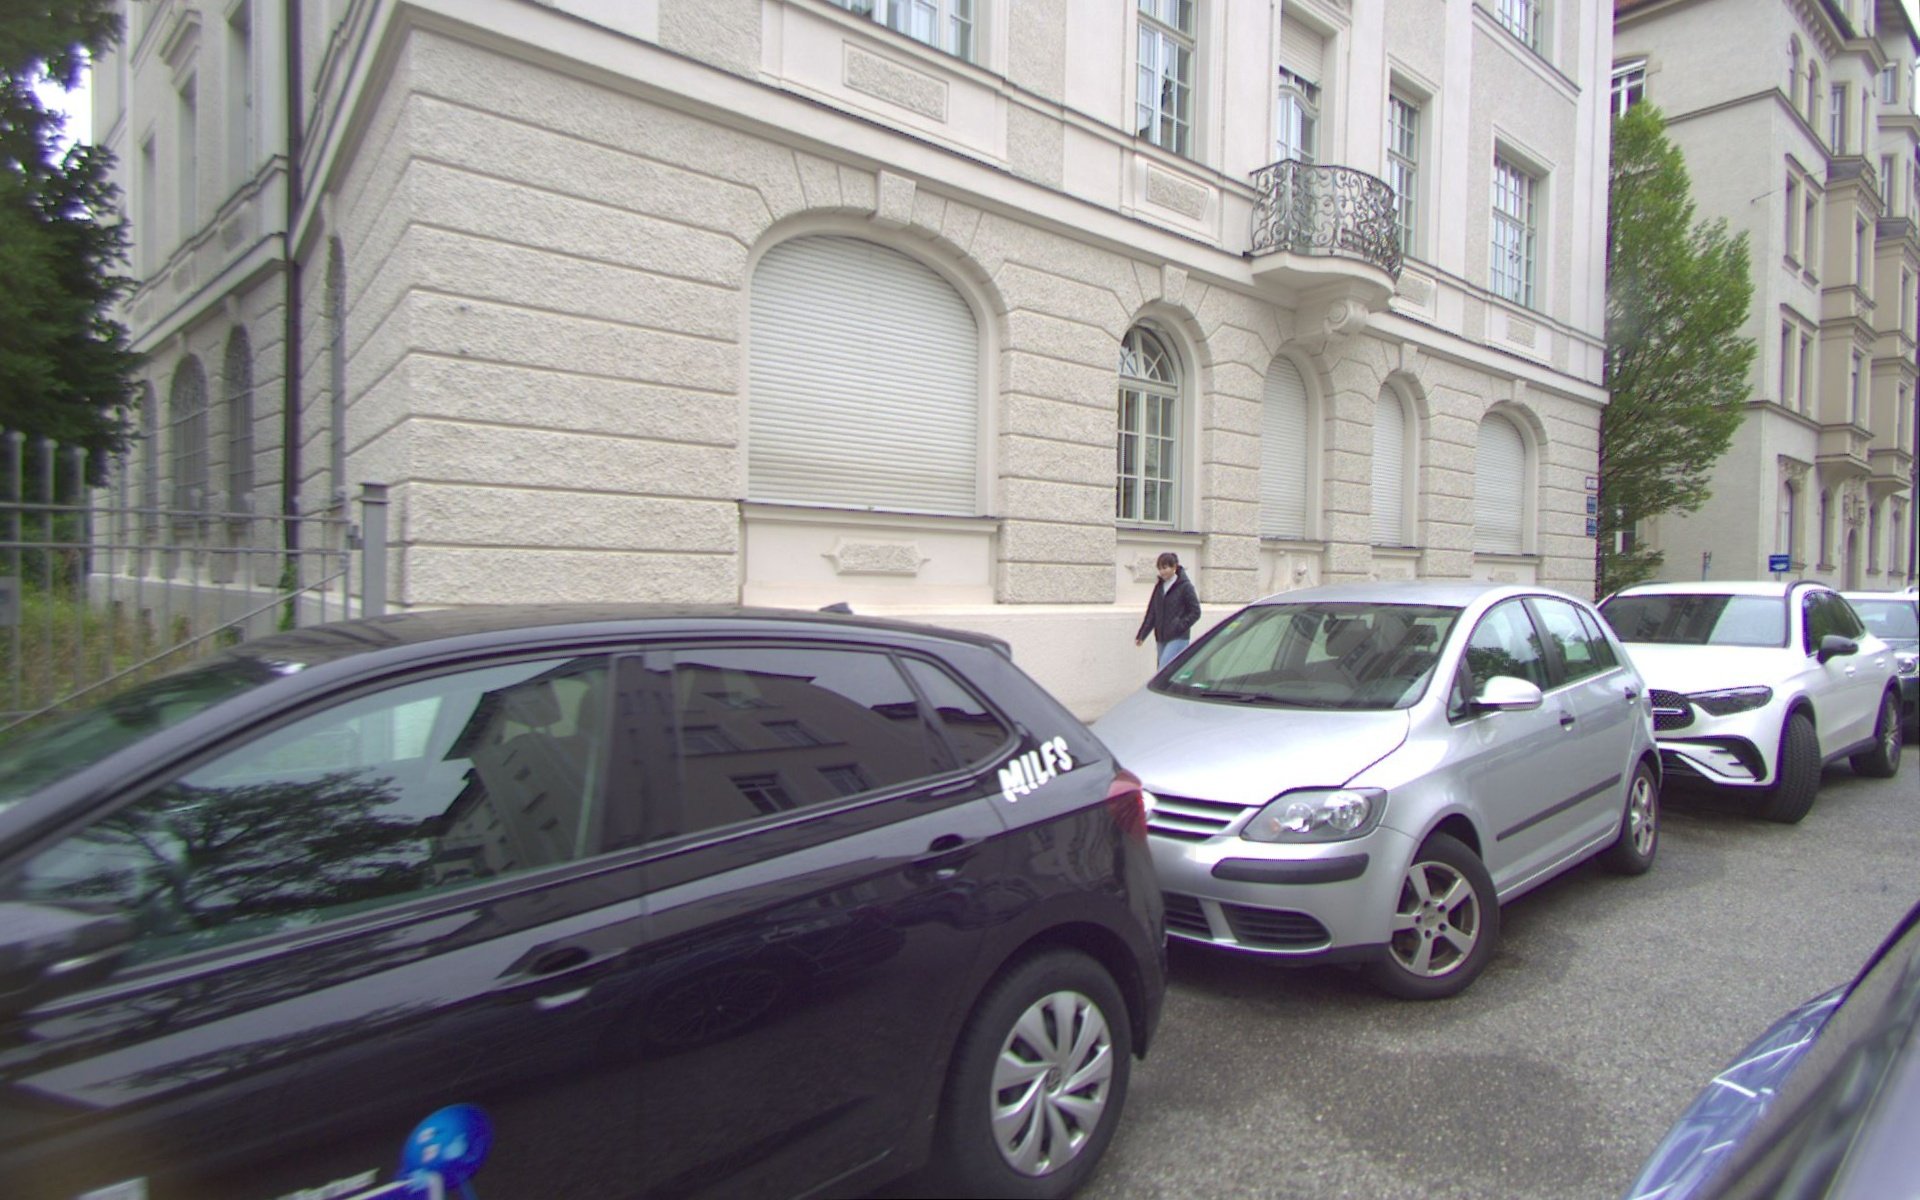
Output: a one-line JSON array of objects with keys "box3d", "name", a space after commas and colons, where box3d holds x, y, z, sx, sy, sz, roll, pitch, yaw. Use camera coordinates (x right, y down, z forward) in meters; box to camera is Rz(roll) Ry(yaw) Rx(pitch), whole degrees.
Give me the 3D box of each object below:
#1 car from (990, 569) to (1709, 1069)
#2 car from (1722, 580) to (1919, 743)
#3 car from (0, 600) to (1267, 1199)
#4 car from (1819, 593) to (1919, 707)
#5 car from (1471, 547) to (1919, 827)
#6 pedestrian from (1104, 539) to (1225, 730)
[{"box3d": [2.164, 0.638, 5.024, 3.931, 1.520, 1.711, 0, 1, -41], "name": "car"}, {"box3d": [10.408, 0.582, 11.549, 4.094, 1.544, 1.753, 0, 1, -38], "name": "car"}, {"box3d": [-1.155, 0.714, 2.238, 3.928, 1.412, 1.616, 0, 0, -39], "name": "car"}, {"box3d": [13.964, 0.669, 14.543, 4.148, 1.470, 1.715, 1, 0, -39], "name": "car"}, {"box3d": [6.082, 0.513, 8.048, 4.310, 1.657, 1.901, 1, 1, -38], "name": "car"}, {"box3d": [1.936, 0.296, 9.591, 0.797, 1.699, 0.684, 1, 3, -39], "name": "pedestrian"}]
